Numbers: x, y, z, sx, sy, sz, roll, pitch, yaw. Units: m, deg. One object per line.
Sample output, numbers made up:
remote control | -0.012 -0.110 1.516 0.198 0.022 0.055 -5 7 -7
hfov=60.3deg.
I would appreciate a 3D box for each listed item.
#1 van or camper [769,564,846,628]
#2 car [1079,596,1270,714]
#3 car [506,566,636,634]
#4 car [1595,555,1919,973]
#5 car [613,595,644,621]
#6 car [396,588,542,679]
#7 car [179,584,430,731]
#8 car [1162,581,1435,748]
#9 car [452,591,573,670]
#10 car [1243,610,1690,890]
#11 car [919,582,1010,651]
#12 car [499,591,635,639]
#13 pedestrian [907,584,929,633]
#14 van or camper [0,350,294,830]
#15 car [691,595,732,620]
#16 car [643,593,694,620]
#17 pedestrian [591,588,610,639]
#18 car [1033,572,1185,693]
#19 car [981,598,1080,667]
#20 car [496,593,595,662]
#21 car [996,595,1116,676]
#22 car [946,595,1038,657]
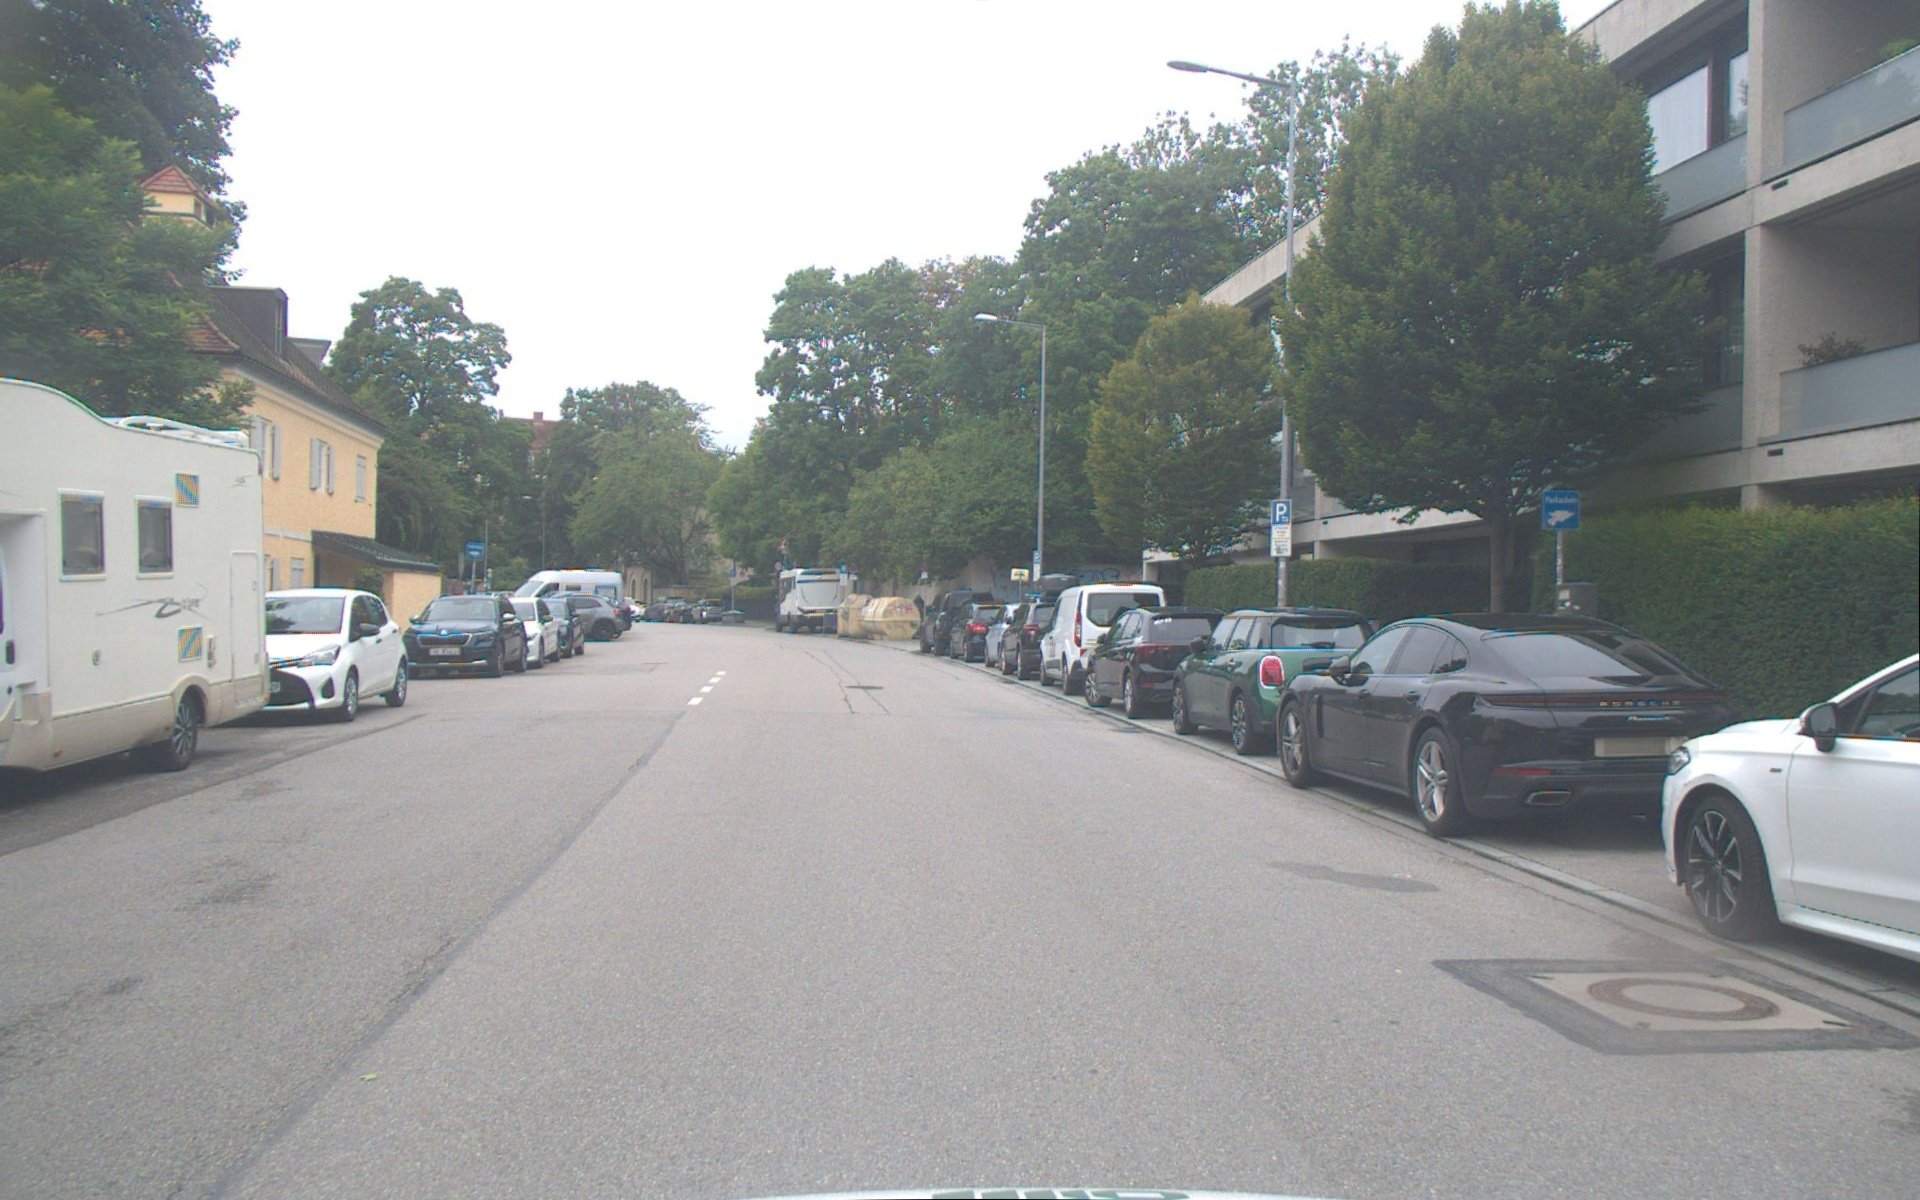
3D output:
van or camper | -7.467 -0.171 80.323 2.237 2.957 7.240 1 0 -18
car | 2.899 0.697 23.246 1.714 1.489 4.237 0 0 -6
car | -15.499 -0.021 65.979 4.594 2.608 2.202 0 1 -40
car | 4.636 0.622 6.359 1.836 1.597 4.991 -2 1 -9
car | -19.668 0.449 98.072 1.741 1.501 4.122 1 0 -12
car | -9.233 0.604 31.432 1.809 1.562 4.435 -2 0 -6
car | -7.865 0.620 20.274 1.744 1.562 4.222 -2 0 -6
car | 3.507 0.598 17.947 1.694 1.556 4.199 -1 0 -6
car | -9.715 0.612 36.223 1.809 1.562 4.515 -2 0 -6
car | 3.480 0.905 12.466 1.256 1.532 5.200 -1 1 -6
car | 0.075 0.505 49.798 1.951 1.904 5.067 1 -1 -9
car | -13.160 0.515 55.333 4.267 1.557 1.922 1 -1 -20
pedestrian | -1.771 0.358 69.841 0.783 2.020 0.627 1 0 -17
van or camper | -7.340 -0.054 12.203 2.407 2.992 7.204 -1 0 -5
car | -15.818 0.489 105.169 1.720 1.563 2.917 -1 0 -29
car | -19.890 0.429 112.866 1.972 1.741 4.837 -1 0 -29
pedestrian | -11.884 0.442 54.653 0.580 1.676 0.711 -1 0 -16
car | 2.517 0.508 29.111 1.787 1.893 4.893 2 0 -5
car | 1.606 0.729 38.825 1.714 1.506 3.882 1 0 -7
car | -10.221 0.634 41.109 1.810 1.562 4.554 -2 0 -7
car | 1.905 0.674 34.220 1.714 1.506 4.592 1 0 -6
car | 0.795 0.664 44.484 1.715 1.566 4.560 1 0 -9
